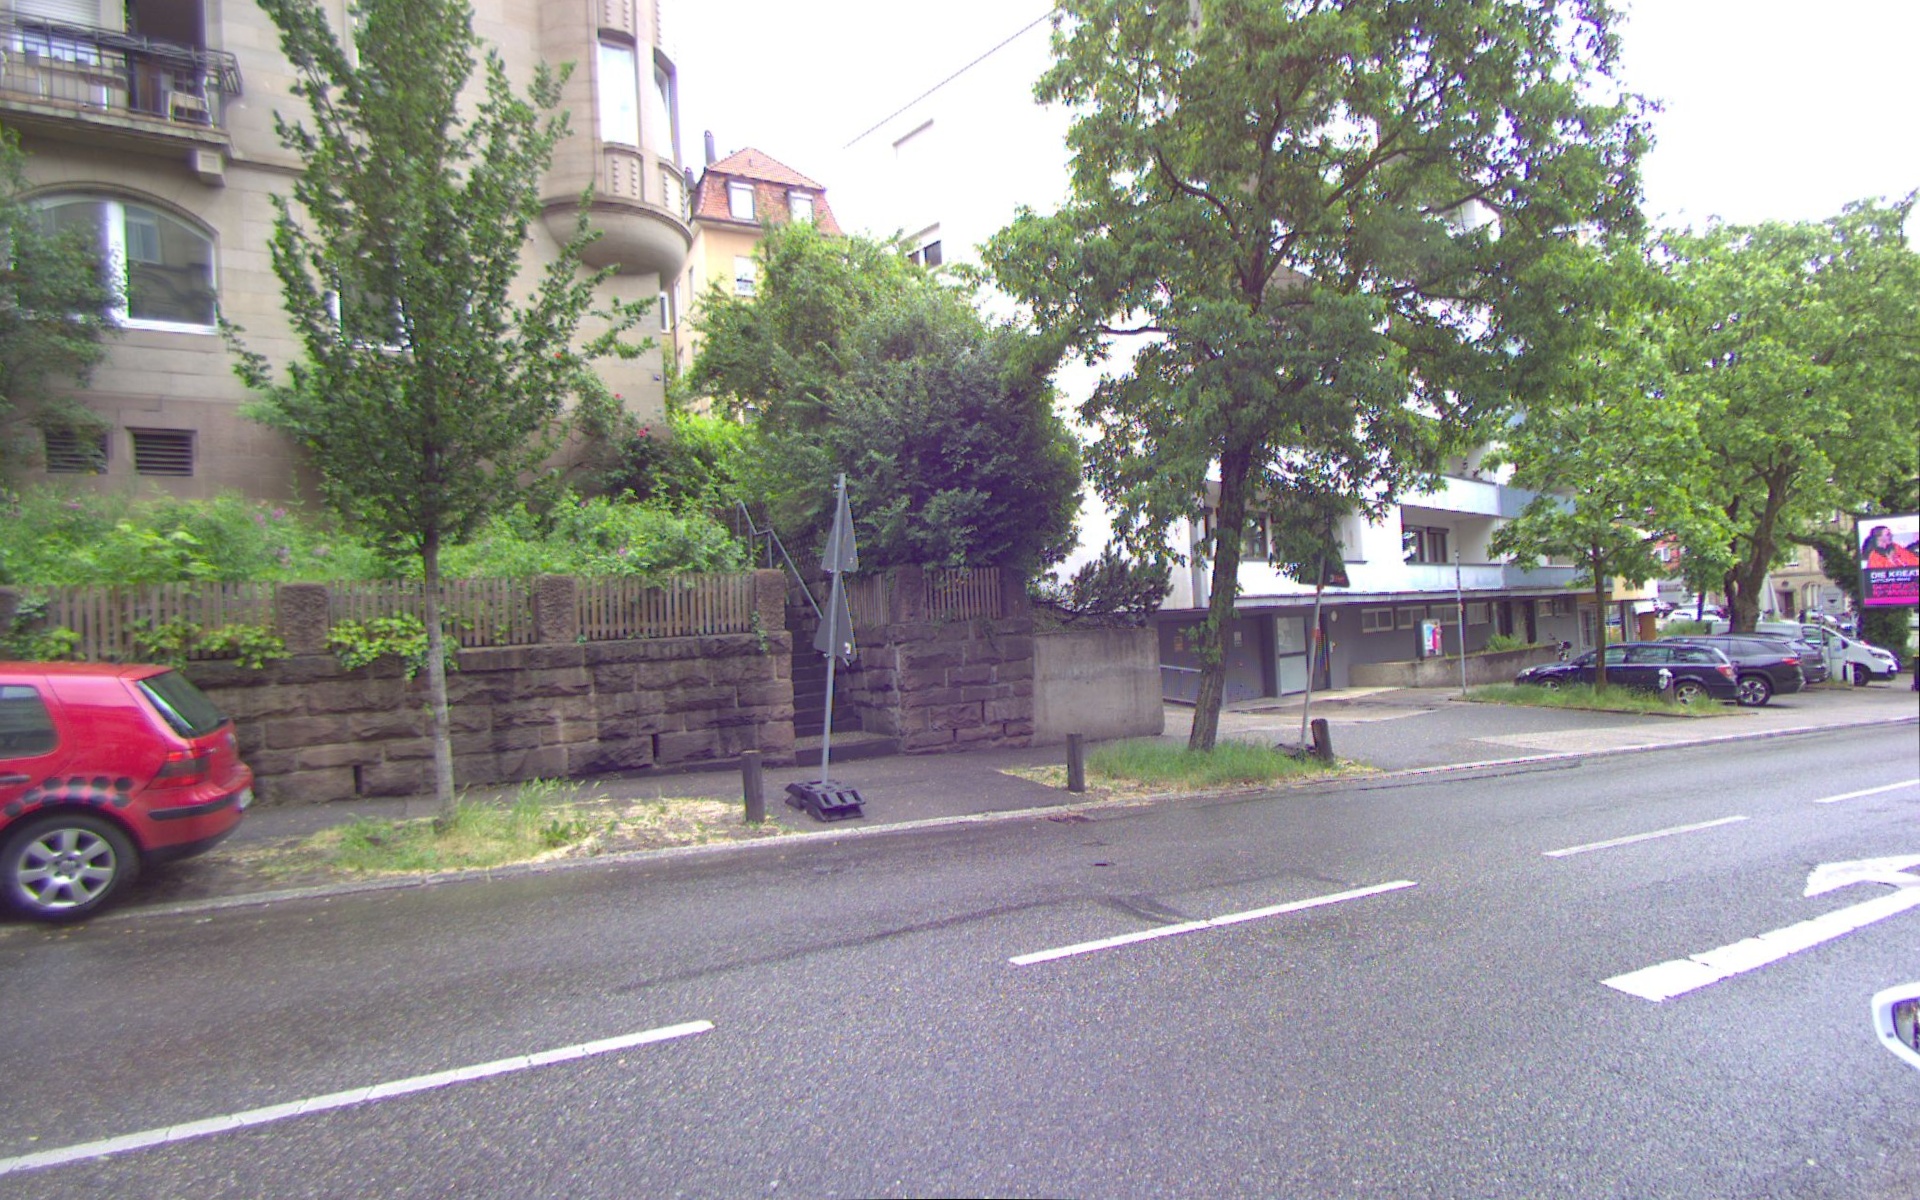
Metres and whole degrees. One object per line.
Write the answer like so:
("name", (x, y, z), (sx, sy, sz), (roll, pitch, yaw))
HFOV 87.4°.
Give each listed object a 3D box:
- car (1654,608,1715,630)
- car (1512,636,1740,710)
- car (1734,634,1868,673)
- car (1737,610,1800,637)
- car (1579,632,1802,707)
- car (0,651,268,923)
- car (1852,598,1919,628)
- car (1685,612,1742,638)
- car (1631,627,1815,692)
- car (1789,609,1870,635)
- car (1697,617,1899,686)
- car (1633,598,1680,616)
("car", (60.359, 1.567, 83.776), (1.961, 1.749, 4.249), (-2, -1, -1))
("car", (15.682, 1.698, 23.765), (4.303, 1.594, 1.935), (-3, -4, 38))
("car", (32.894, 2.081, 39.423), (3.925, 1.469, 1.761), (-2, -3, 40))
("car", (69.604, 1.994, 86.539), (1.961, 2.130, 4.291), (-1, 1, -1))
("car", (18.076, 1.718, 25.022), (4.312, 1.694, 1.848), (-3, -4, 38))
("car", (-6.544, 1.062, 5.817), (4.015, 1.470, 1.606), (1, -2, -30))
("car", (69.359, 0.927, 74.867), (1.961, 2.130, 4.291), (-1, 1, -1))
("car", (69.128, 2.271, 92.249), (1.961, 2.130, 4.291), (-1, 1, -1))
("car", (23.087, 1.762, 30.502), (4.305, 1.807, 1.931), (-2, -3, 40))
("car", (60.471, 1.501, 69.954), (1.960, 1.749, 4.250), (-1, 0, 1))
("car", (27.699, 1.675, 33.421), (5.000, 2.132, 1.983), (-2, -3, 40))
("car", (68.447, 0.659, 98.756), (1.694, 1.711, 3.999), (2, 0, -2))
